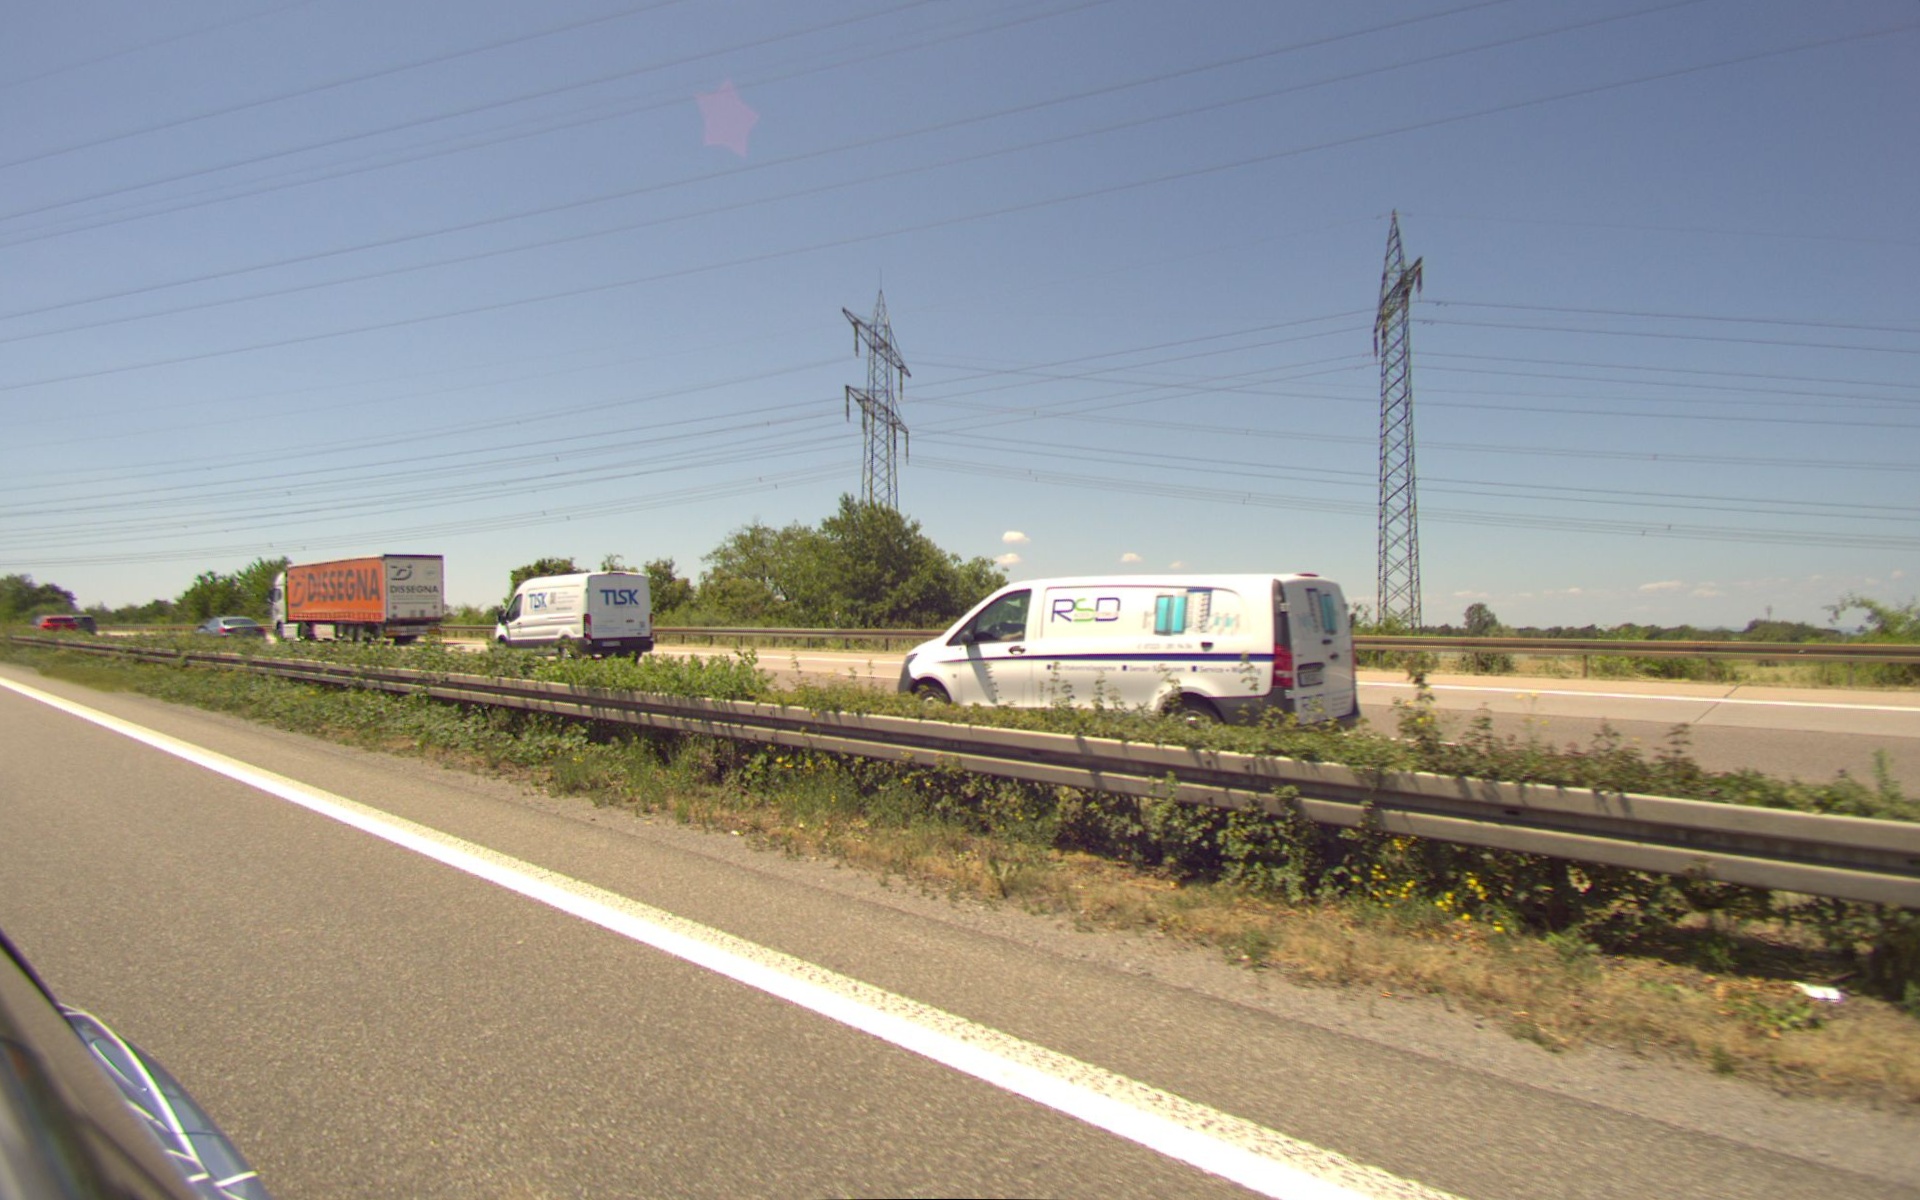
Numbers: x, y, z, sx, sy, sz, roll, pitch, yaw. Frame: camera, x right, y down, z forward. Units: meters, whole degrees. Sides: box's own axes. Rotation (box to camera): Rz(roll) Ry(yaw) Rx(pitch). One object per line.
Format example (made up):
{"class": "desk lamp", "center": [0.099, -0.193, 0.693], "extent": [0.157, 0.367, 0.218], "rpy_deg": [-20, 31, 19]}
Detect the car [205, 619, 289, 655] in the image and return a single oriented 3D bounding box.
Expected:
{"class": "car", "center": [-29.614, 1.539, 41.979], "extent": [4.773, 1.337, 1.971], "rpy_deg": [-3, -2, 44]}

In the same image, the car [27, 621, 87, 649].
{"class": "car", "center": [-52.153, 2.007, 58.439], "extent": [4.444, 1.561, 1.973], "rpy_deg": [-1, -1, 40]}

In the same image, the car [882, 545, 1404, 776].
{"class": "car", "center": [1.739, 0.599, 11.065], "extent": [5.334, 1.954, 1.973], "rpy_deg": [-3, -2, 41]}

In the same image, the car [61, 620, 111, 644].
{"class": "car", "center": [-63.769, 2.288, 73.788], "extent": [4.925, 1.686, 1.973], "rpy_deg": [-1, -1, 40]}

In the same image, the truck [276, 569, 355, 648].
{"class": "truck", "center": [-34.542, 0.446, 54.214], "extent": [4.601, 4.049, 2.455], "rpy_deg": [-1, -1, 42]}

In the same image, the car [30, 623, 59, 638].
{"class": "car", "center": [-94.923, 3.158, 104.899], "extent": [4.276, 1.544, 1.649], "rpy_deg": [-1, -1, 40]}

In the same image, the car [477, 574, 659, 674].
{"class": "car", "center": [-11.005, 0.643, 28.085], "extent": [6.489, 2.489, 1.972], "rpy_deg": [-1, 0, 42]}

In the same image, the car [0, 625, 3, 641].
{"class": "car", "center": [-104.156, 3.565, 108.322], "extent": [4.407, 1.630, 1.974], "rpy_deg": [-3, -1, 40]}

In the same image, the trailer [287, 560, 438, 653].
{"class": "trailer", "center": [-29.673, 0.377, 49.788], "extent": [13.582, 4.073, 2.480], "rpy_deg": [-1, 0, 42]}
